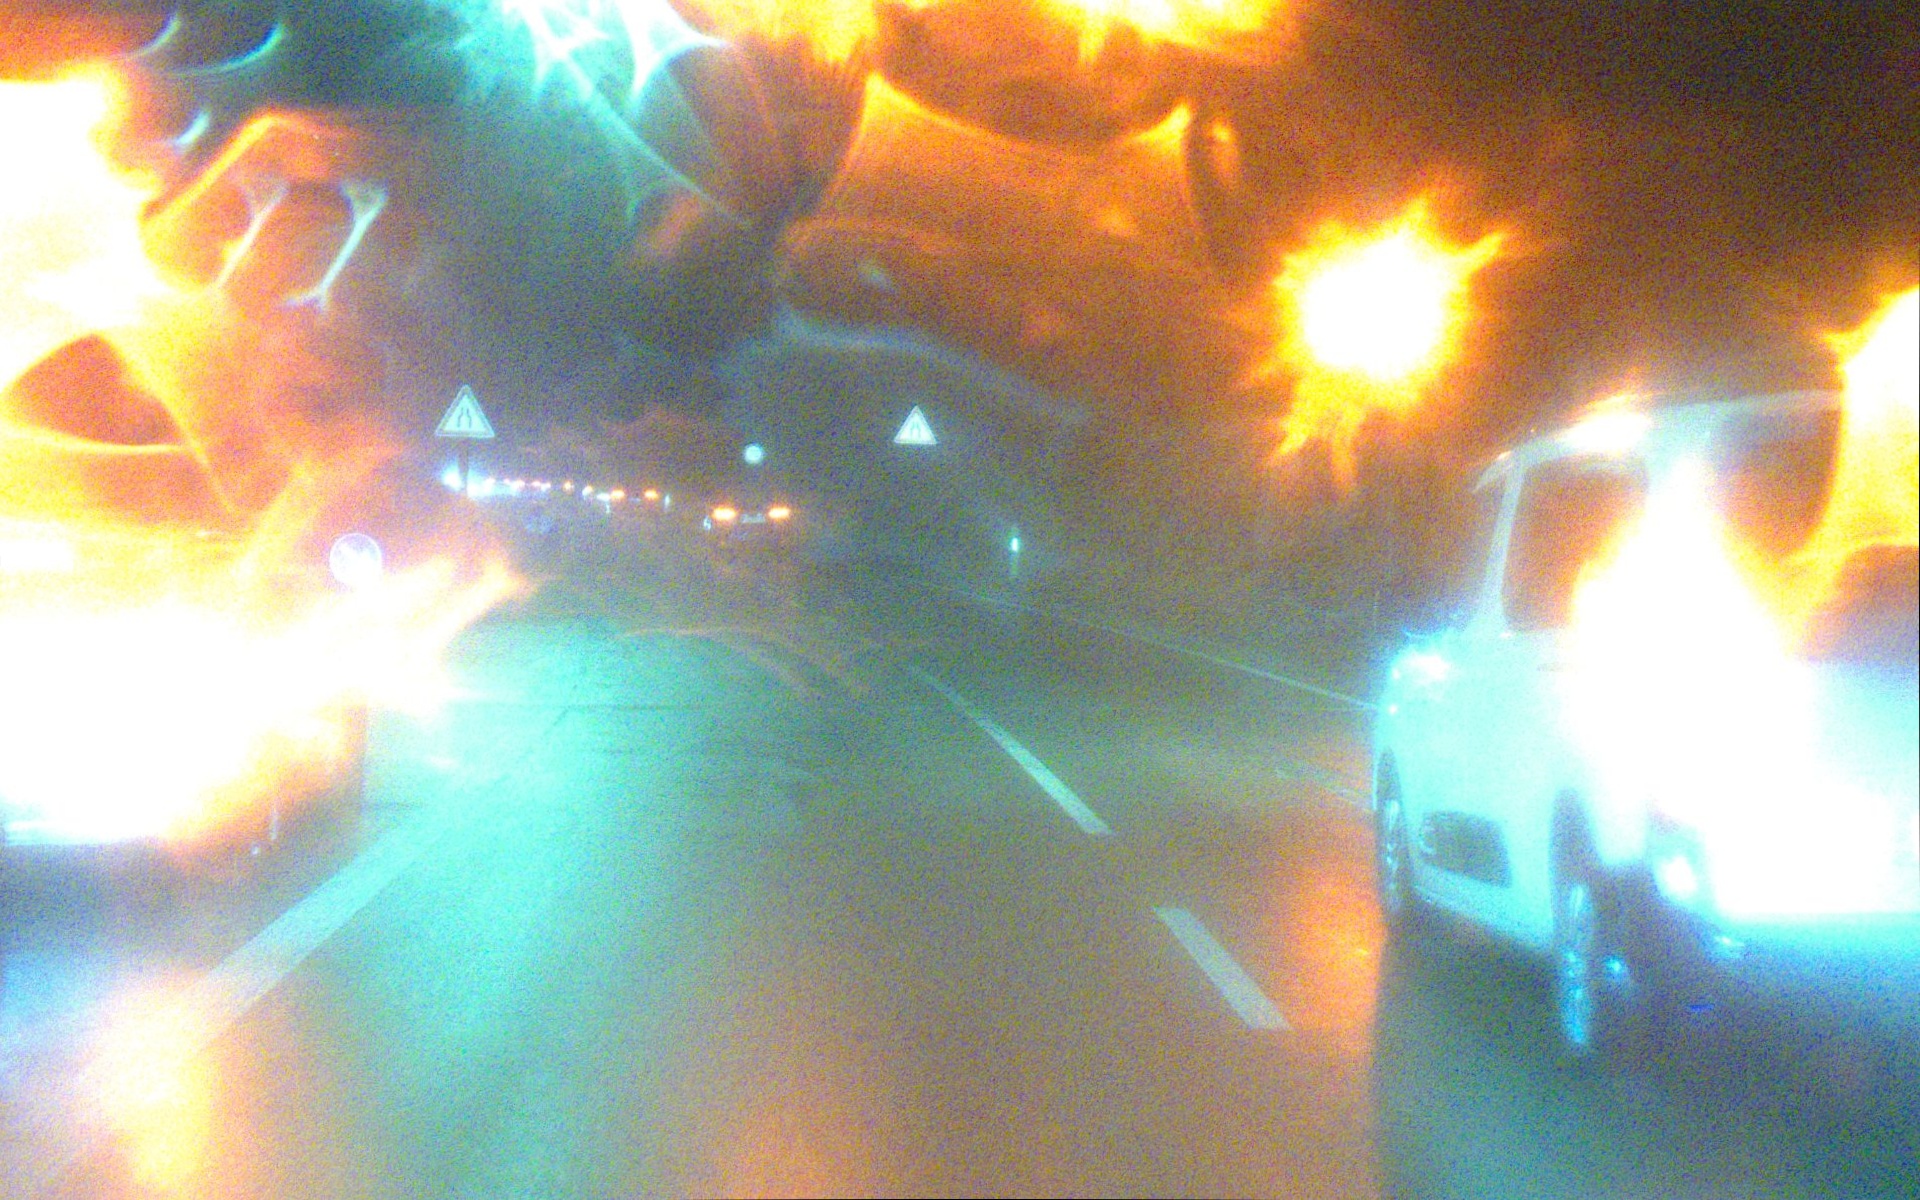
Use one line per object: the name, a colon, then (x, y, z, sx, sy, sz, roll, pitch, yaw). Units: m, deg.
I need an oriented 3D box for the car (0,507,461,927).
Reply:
car: (-3.285, 0.375, 14.636, 1.783, 1.506, 4.437, -1, 1, -2)

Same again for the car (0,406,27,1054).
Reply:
car: (-3.471, 0.402, 7.464, 1.783, 1.776, 4.437, 0, 1, -1)

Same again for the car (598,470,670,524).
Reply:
car: (-11.827, -3.738, 125.094, 1.994, 1.711, 4.000, 4, 0, 2)

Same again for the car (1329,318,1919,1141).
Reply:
car: (2.387, 0.290, 10.791, 1.791, 2.015, 4.580, 1, 1, -2)

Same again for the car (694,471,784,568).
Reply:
car: (-4.801, -1.746, 74.197, 1.791, 2.015, 4.580, 0, 1, -5)
